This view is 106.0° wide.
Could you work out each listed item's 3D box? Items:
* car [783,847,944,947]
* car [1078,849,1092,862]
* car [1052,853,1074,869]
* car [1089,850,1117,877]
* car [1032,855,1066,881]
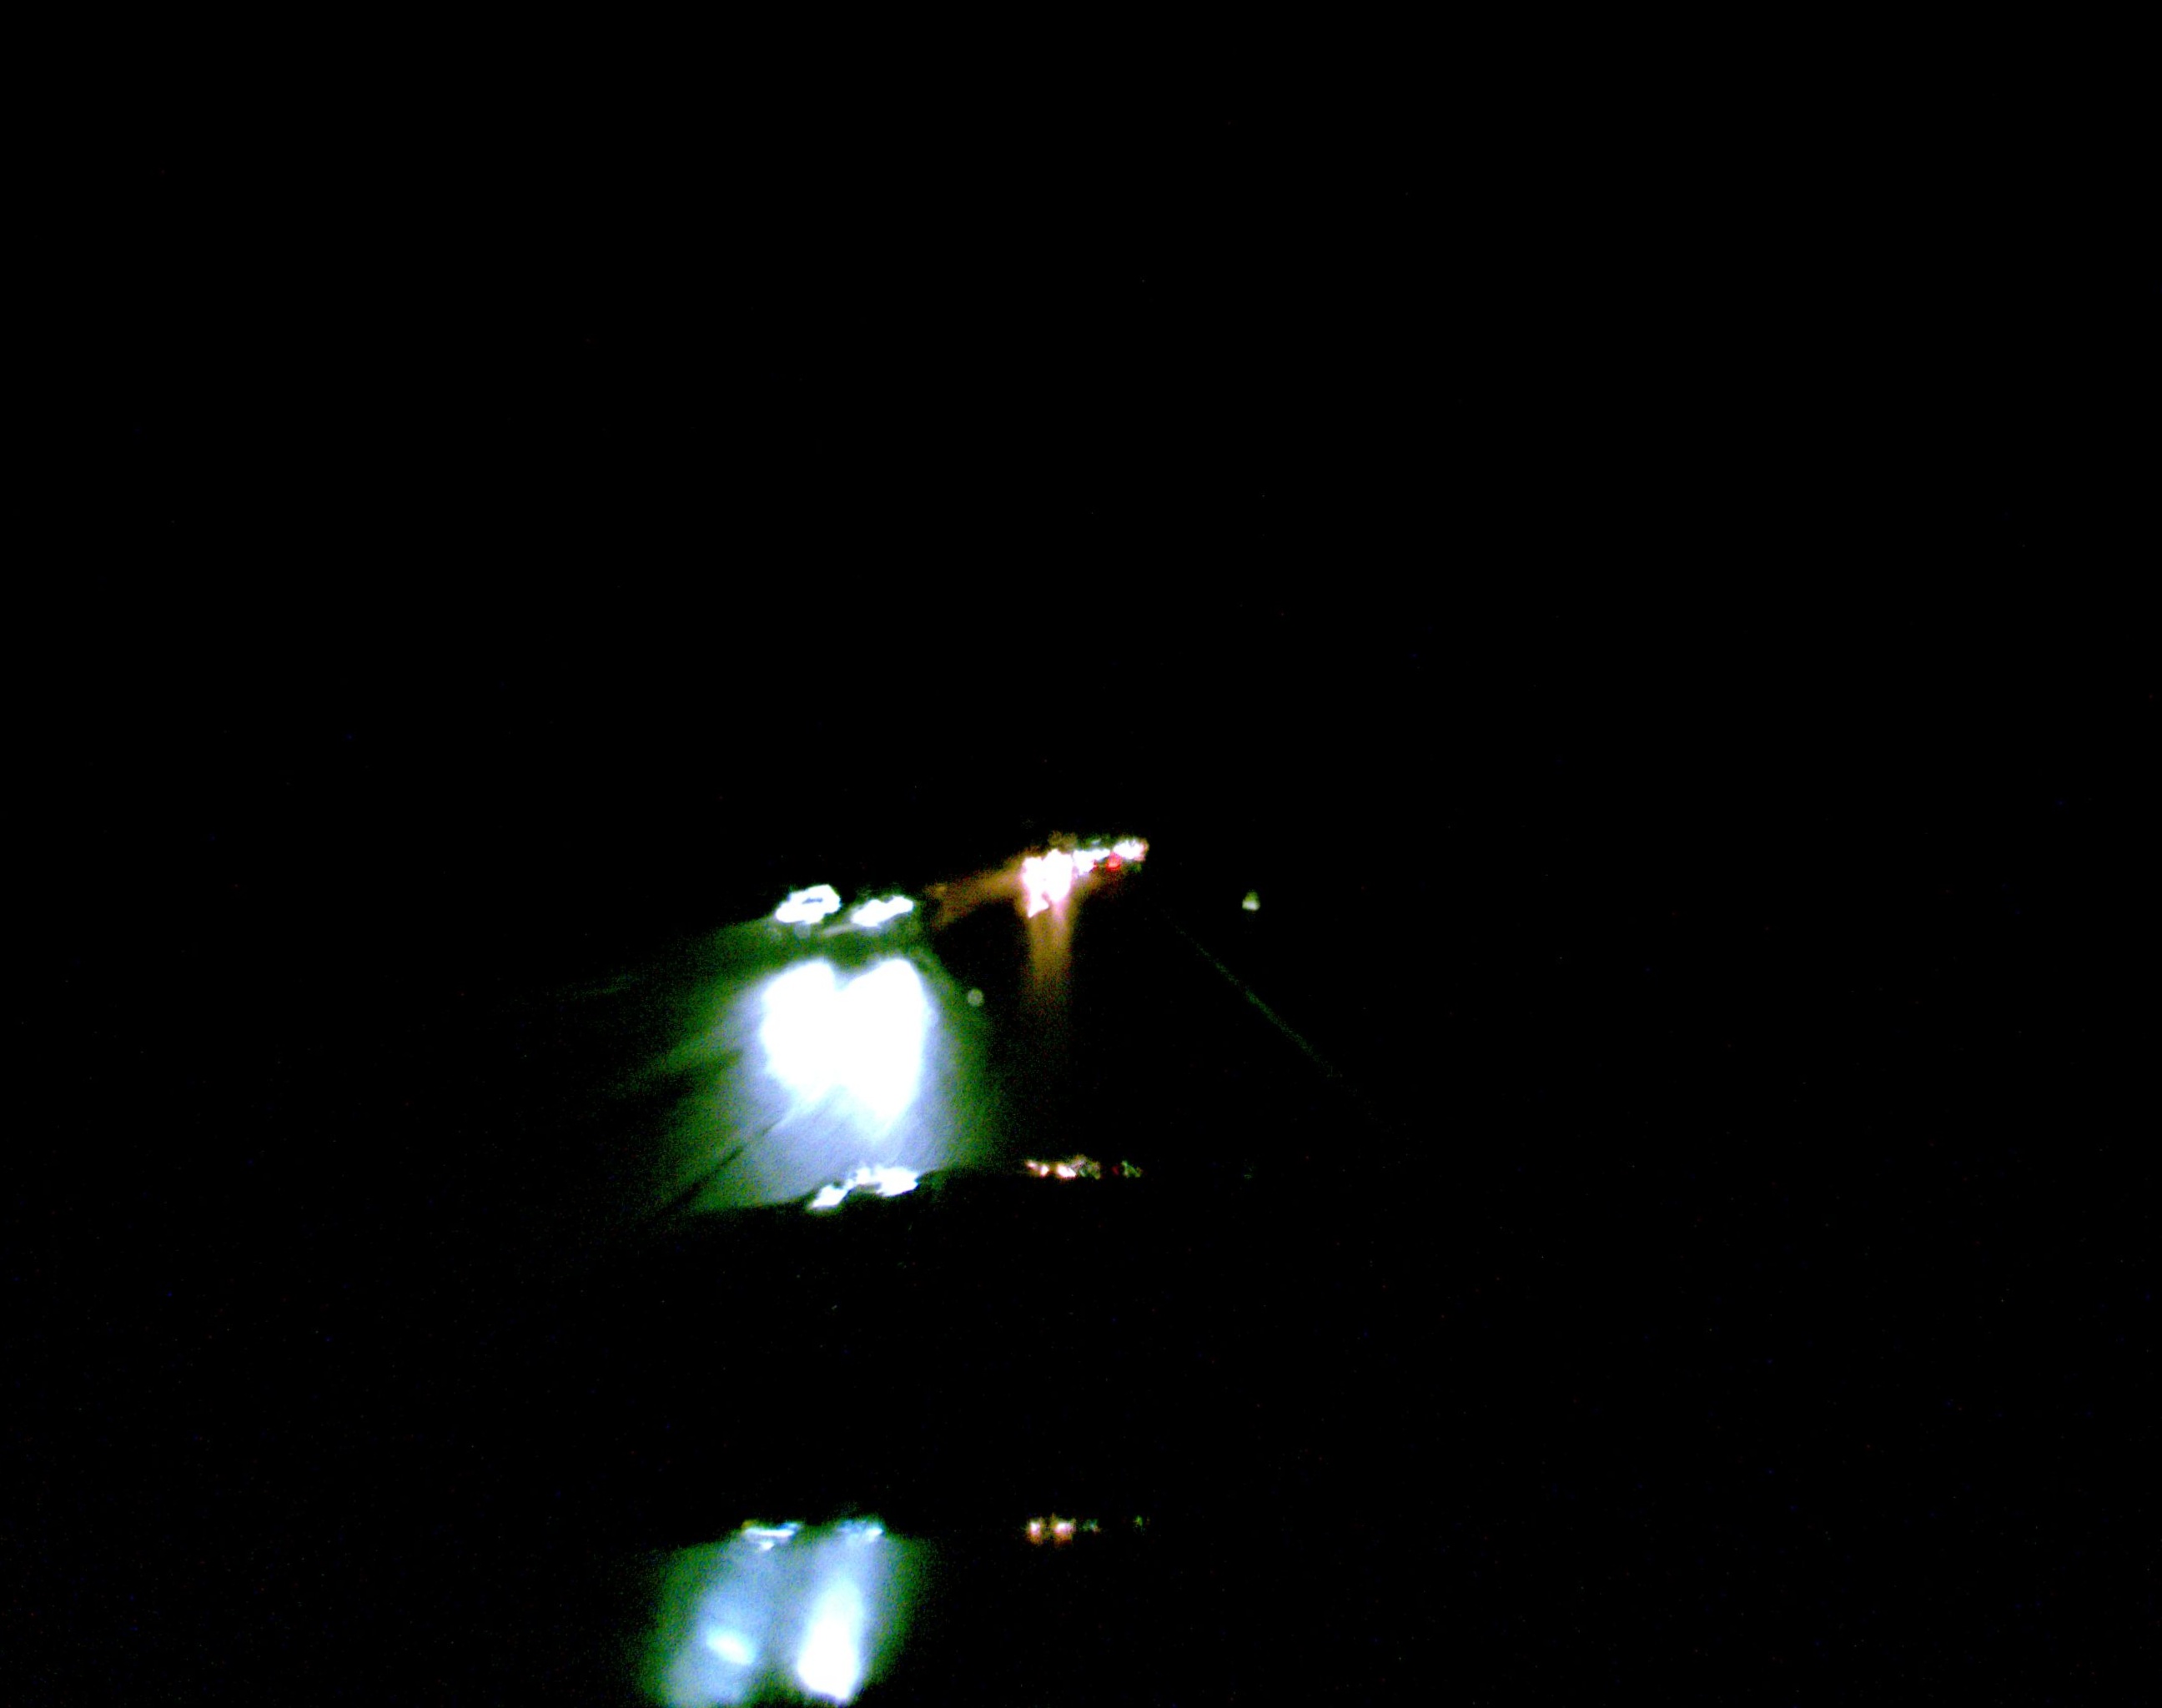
[{"bbox_3d":[-3.936,0.753,15.500,1.987,1.661,3.999,0,-1,0],"label":"car"},{"bbox_3d":[0.595,0.223,115.908,1.796,1.928,4.003,0,-1,3],"label":"car"},{"bbox_3d":[-1.642,0.636,76.217,1.812,1.441,4.002,0,-1,2],"label":"car"},{"bbox_3d":[1.465,0.625,56.040,1.836,1.740,4.001,1,1,1],"label":"car"},{"bbox_3d":[-2.100,0.938,54.181,1.986,1.661,4.002,0,-1,2],"label":"car"}]
